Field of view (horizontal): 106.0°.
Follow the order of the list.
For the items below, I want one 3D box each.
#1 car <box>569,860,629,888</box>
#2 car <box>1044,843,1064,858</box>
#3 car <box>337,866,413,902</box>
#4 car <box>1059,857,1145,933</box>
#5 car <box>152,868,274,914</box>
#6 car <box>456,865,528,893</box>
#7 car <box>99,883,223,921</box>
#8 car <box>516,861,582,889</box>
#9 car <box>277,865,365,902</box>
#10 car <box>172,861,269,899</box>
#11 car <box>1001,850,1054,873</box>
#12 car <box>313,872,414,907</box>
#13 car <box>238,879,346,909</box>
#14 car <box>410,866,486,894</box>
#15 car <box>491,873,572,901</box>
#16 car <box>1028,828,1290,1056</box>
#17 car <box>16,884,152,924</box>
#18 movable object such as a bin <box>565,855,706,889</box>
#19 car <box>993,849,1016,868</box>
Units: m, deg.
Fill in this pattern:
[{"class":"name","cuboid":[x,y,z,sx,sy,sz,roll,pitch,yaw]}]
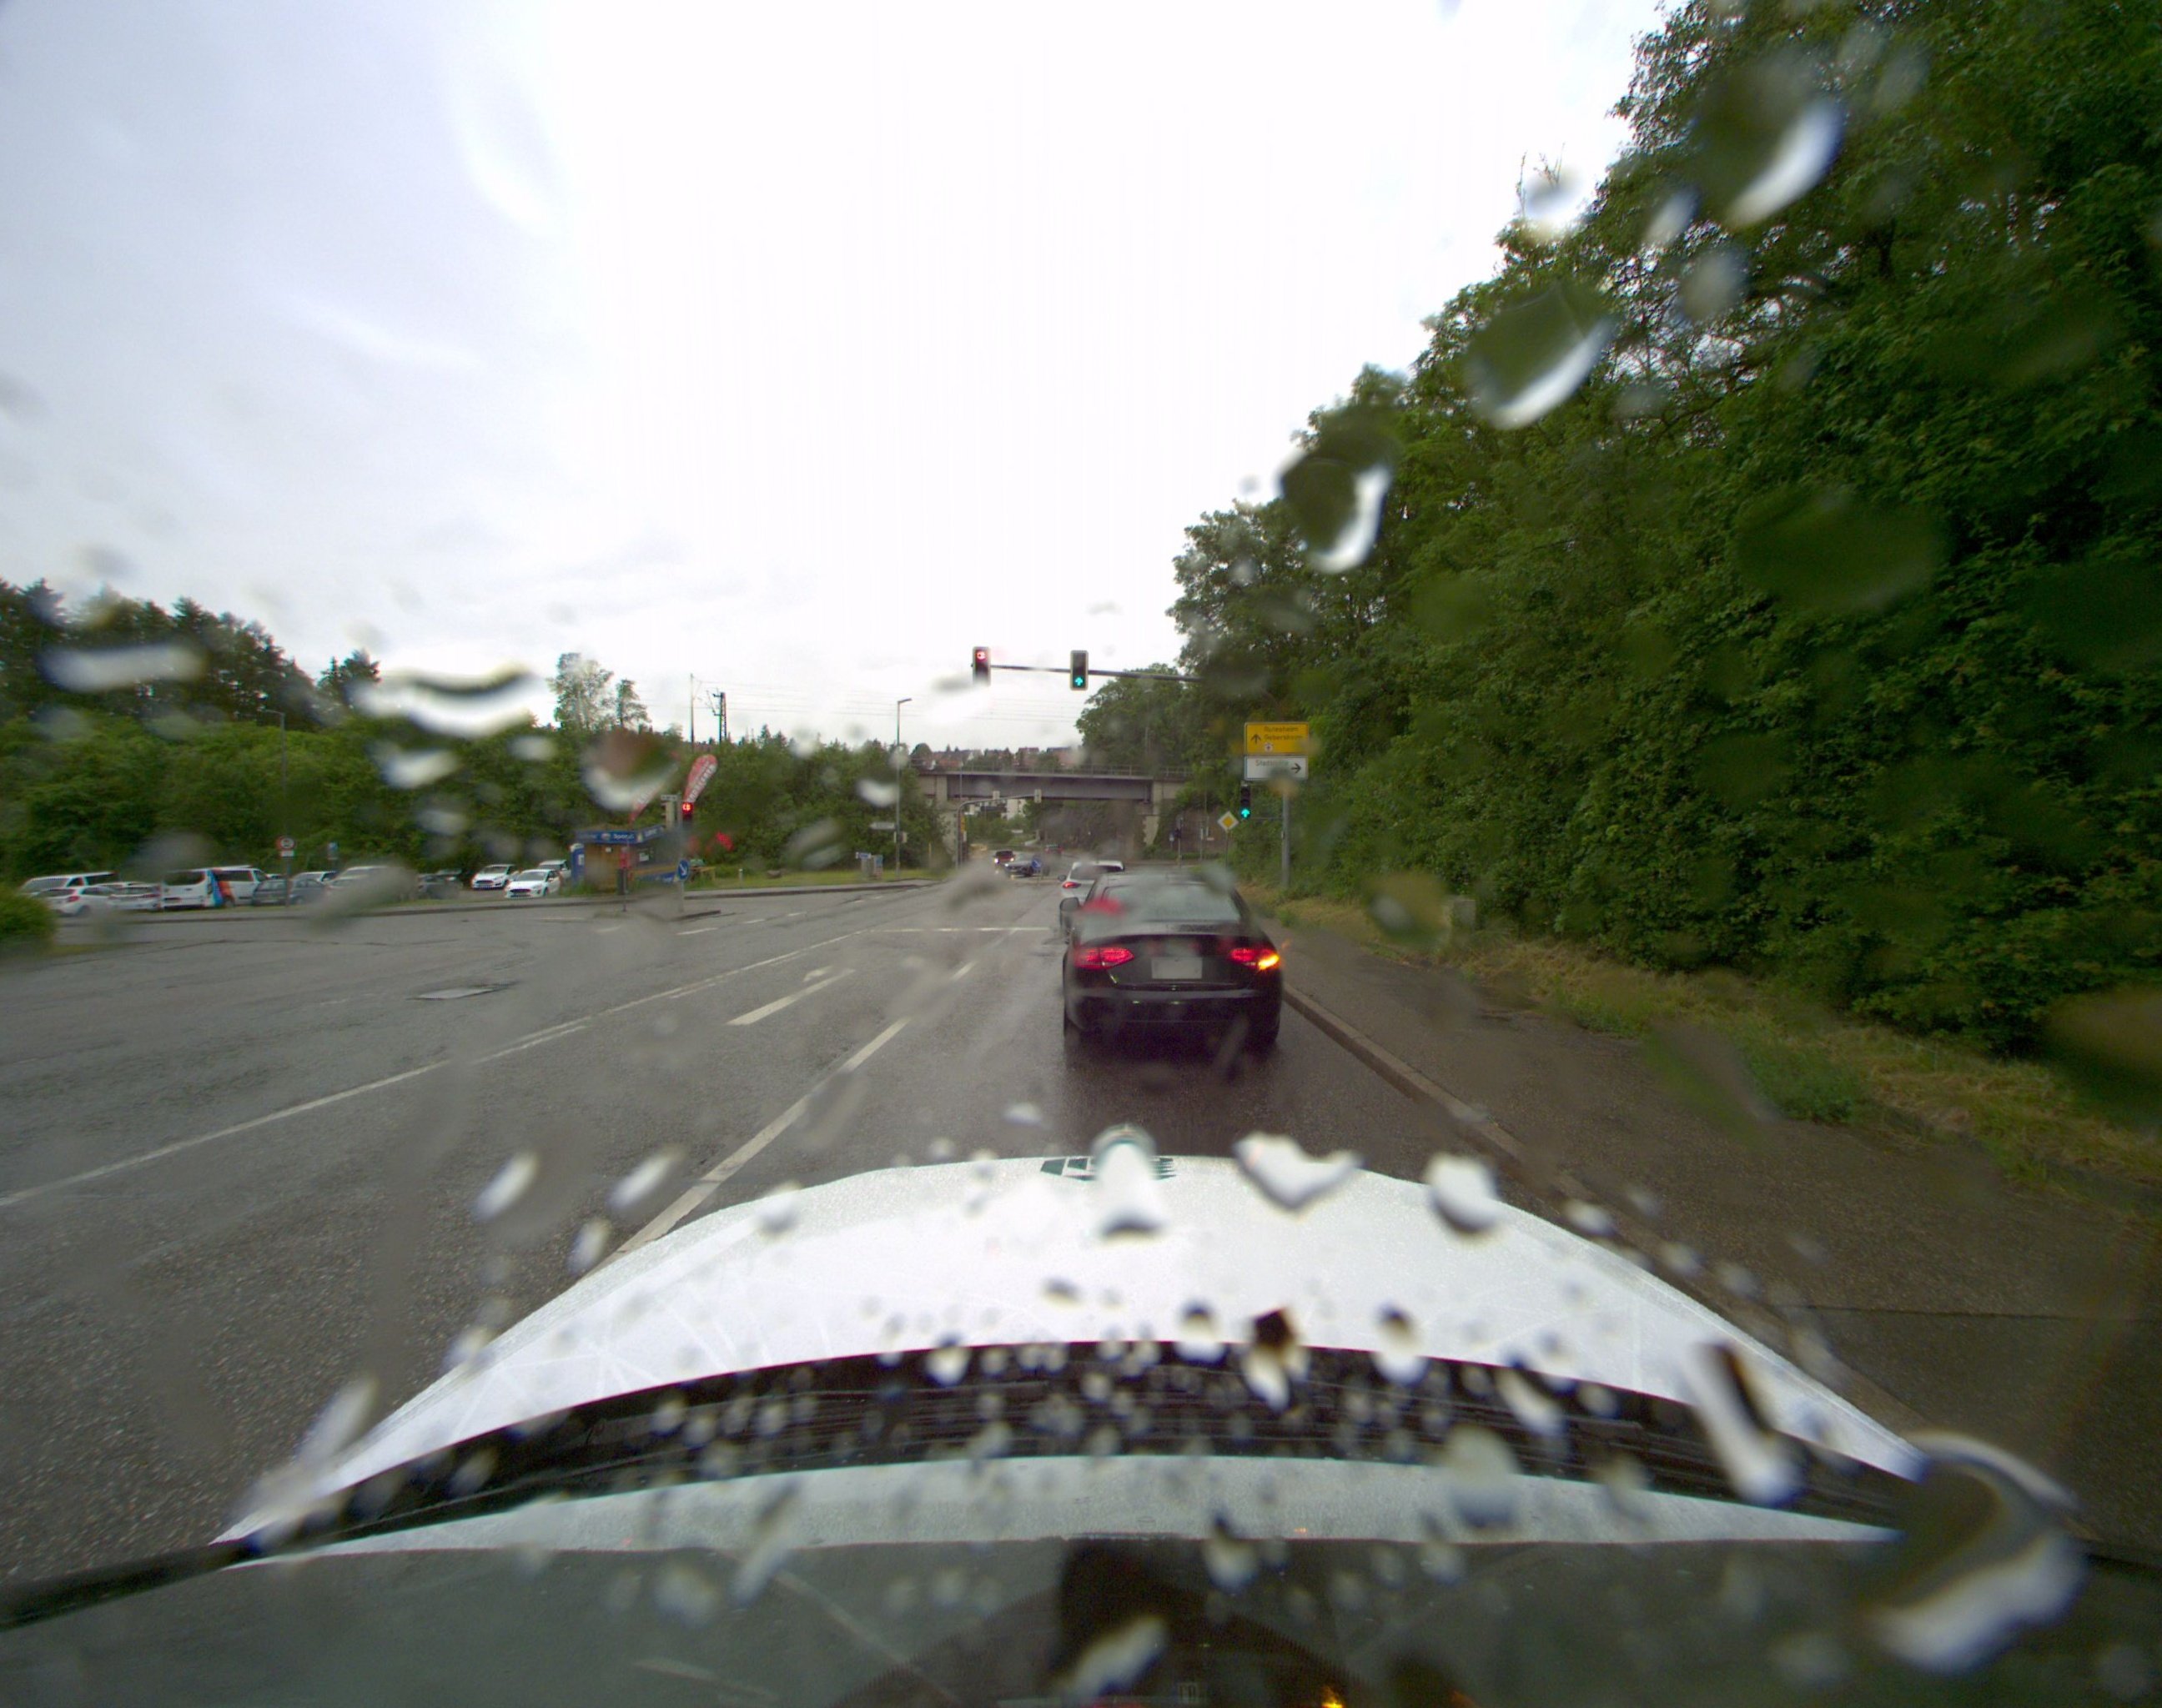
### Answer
[{"class":"car","cuboid":[-30.404,1.225,51.537,1.994,1.585,3.985,-2,0,-11]},{"class":"car","cuboid":[-3.253,-0.416,96.548,1.992,1.595,3.990,-2,1,-7]},{"class":"car","cuboid":[-42.196,1.765,48.788,1.941,2.014,3.849,0,0,-15]},{"class":"car","cuboid":[0.502,0.910,19.355,1.816,1.585,4.001,-1,-1,2]},{"class":"car","cuboid":[-39.468,1.648,37.191,1.997,1.949,3.978,0,-1,-16]},{"class":"car","cuboid":[-35.508,1.496,49.225,1.994,1.585,3.984,-1,-1,-11]},{"class":"car","cuboid":[-41.753,2.128,37.111,1.858,1.585,3.978,0,-1,-16]},{"class":"car","cuboid":[-32.640,1.228,50.135,1.994,1.585,3.985,-2,0,-11]},{"class":"car","cuboid":[-44.795,1.702,48.110,1.995,2.013,3.983,-2,0,-12]},{"class":"car","cuboid":[-49.521,1.443,46.988,1.997,2.013,3.980,-1,0,-14]},{"class":"car","cuboid":[-3.593,0.467,55.038,1.623,1.470,4.025,-1,0,29]},{"class":"car","cuboid":[-34.654,1.695,39.460,1.937,1.585,3.892,-1,-1,-11]},{"class":"car","cuboid":[-37.189,1.850,38.533,1.751,1.310,3.984,-1,-1,-11]},{"class":"car","cuboid":[-37.976,1.527,48.973,1.994,1.585,3.984,-1,-1,-11]},{"class":"car","cuboid":[-27.964,1.642,41.623,1.652,1.340,4.883,-1,-1,-11]},{"class":"car","cuboid":[0.618,0.674,7.879,1.863,1.617,4.001,-1,-1,2]},{"class":"car","cuboid":[-44.387,2.172,36.403,1.837,1.585,3.978,0,-1,-16]},{"class":"movable object such as a bin","cuboid":[-22.894,0.892,42.051,2.716,1.628,5.816,-2,-1,41]},{"class":"car","cuboid":[-7.013,0.378,74.669,1.990,1.628,3.993,-2,0,-5]}]
